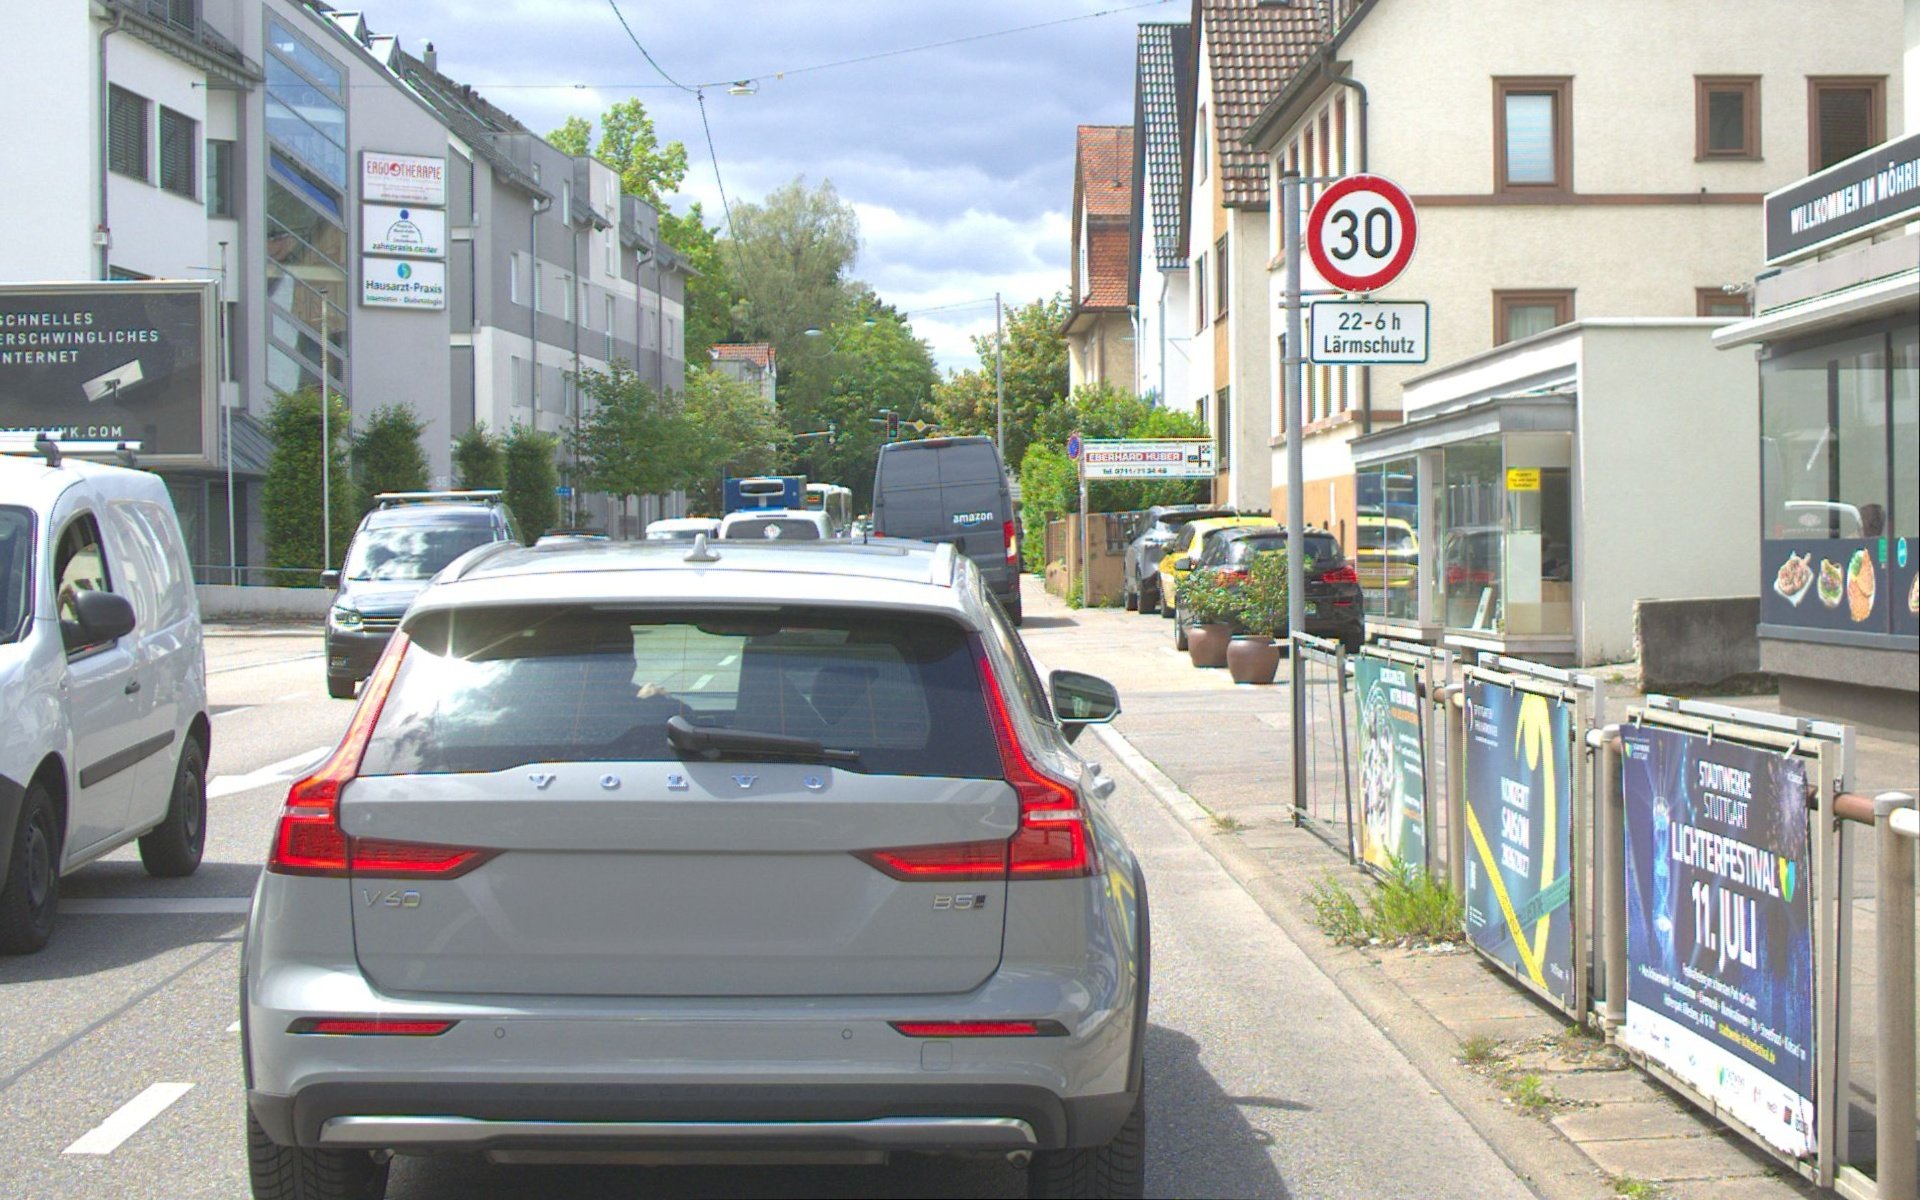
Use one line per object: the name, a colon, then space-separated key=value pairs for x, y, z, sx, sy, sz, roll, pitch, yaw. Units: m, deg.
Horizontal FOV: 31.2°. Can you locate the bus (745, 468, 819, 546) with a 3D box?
bus: x=-6.303 y=-3.320 z=122.495 sx=2.276 sy=2.659 sz=7.430 roll=-1 pitch=2 yaw=0

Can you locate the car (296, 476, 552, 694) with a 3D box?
car: x=-5.076 y=-0.170 z=33.089 sx=1.838 sy=1.911 sz=4.532 roll=-1 pitch=1 yaw=-2

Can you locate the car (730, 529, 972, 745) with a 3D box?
car: x=-0.802 y=0.227 z=25.388 sx=1.650 sy=1.477 sz=3.608 roll=0 pitch=1 yaw=-2

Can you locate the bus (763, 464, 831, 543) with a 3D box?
bus: x=-6.164 y=-3.662 z=130.788 sx=2.276 sy=2.891 sz=7.080 roll=-1 pitch=2 yaw=0

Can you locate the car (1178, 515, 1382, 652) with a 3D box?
car: x=3.547 y=-0.173 z=38.775 sx=1.710 sy=1.459 sz=4.000 roll=0 pitch=0 yaw=-3

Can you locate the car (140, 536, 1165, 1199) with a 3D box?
car: x=-0.611 y=0.595 z=8.201 sx=1.835 sy=1.481 sz=4.000 roll=0 pitch=1 yaw=-2

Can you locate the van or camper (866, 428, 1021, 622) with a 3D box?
van or camper: x=-0.245 y=-1.105 z=50.512 sx=2.123 sy=2.677 sz=4.781 roll=-1 pitch=1 yaw=0

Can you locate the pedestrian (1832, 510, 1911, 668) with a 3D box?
pedestrian: x=6.150 y=-0.076 z=23.200 sx=0.414 sy=1.048 sz=0.368 roll=-1 pitch=1 yaw=-3

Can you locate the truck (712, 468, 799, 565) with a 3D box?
truck: x=-6.344 y=-2.610 z=107.377 sx=2.276 sy=2.876 sz=7.079 roll=-1 pitch=1 yaw=0

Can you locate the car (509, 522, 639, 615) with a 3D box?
car: x=-6.297 y=-0.546 z=56.475 sx=1.762 sy=1.421 sz=4.001 roll=-1 pitch=2 yaw=-2

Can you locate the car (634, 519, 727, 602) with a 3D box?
car: x=-6.250 y=-0.860 z=77.246 sx=1.797 sy=1.810 sz=4.000 roll=0 pitch=0 yaw=0

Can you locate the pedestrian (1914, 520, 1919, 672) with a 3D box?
pedestrian: x=6.828 y=-0.028 z=23.634 sx=0.414 sy=1.048 sz=0.368 roll=-1 pitch=1 yaw=-3

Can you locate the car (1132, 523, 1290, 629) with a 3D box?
car: x=3.448 y=-0.318 z=47.824 sx=1.882 sy=1.411 sz=3.971 roll=0 pitch=0 yaw=0

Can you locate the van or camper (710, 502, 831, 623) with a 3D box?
van or camper: x=-2.987 y=-0.560 z=54.939 sx=1.819 sy=1.828 sz=4.000 roll=0 pitch=-1 yaw=-2

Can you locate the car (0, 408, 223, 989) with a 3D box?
car: x=-4.130 y=0.292 z=13.156 sx=1.838 sy=1.911 sz=4.156 roll=0 pitch=1 yaw=-2

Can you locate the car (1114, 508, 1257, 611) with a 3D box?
car: x=3.387 y=-0.586 z=52.342 sx=1.882 sy=1.495 sz=3.971 roll=0 pitch=0 yaw=0
